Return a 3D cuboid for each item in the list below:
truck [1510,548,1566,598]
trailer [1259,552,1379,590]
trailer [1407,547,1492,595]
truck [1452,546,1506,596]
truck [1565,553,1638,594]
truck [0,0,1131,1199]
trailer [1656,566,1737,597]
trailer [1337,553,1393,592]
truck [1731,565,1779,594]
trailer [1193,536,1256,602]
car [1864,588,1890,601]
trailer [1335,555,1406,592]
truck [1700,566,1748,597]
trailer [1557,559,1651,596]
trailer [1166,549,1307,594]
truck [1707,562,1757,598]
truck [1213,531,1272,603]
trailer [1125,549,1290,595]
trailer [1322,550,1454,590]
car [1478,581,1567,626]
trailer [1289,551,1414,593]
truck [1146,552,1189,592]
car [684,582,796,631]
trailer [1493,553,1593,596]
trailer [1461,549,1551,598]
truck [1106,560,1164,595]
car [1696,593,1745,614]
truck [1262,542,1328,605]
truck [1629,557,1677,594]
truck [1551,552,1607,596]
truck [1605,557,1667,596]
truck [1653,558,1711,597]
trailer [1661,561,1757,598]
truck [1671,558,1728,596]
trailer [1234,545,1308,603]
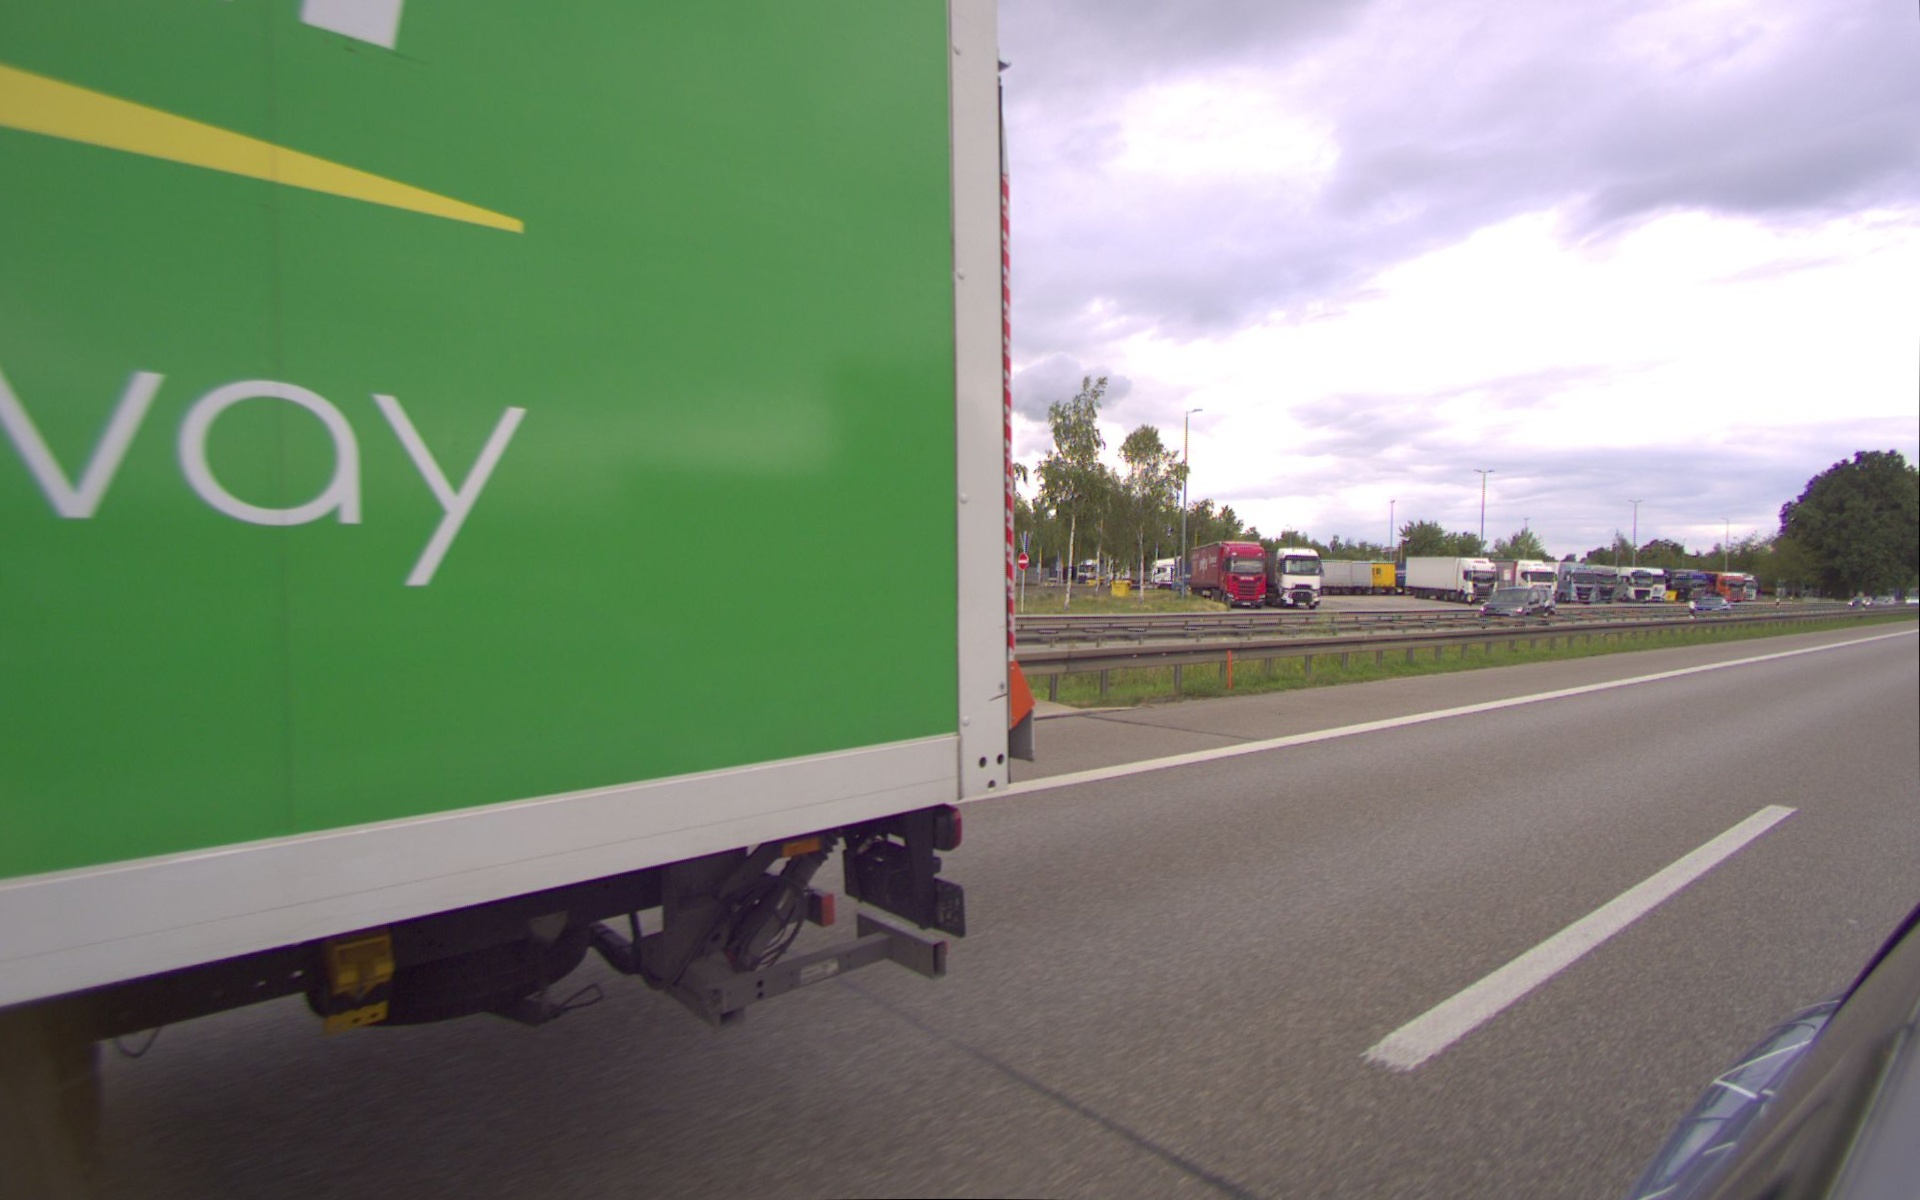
[{"bbox_3d":[52.880,-2.403,92.698,2.467,4.382,4.899,-1,0,4],"label":"truck"},{"bbox_3d":[46.705,-3.757,131.991,14.394,4.701,3.155,-1,0,5],"label":"trailer"},{"bbox_3d":[45.771,-2.539,95.232,2.568,4.126,13.522,-1,0,6],"label":"trailer"},{"bbox_3d":[45.024,-2.470,87.877,2.568,4.187,4.526,-1,0,6],"label":"truck"},{"bbox_3d":[69.098,-2.771,109.228,3.486,4.136,7.642,-1,0,6],"label":"truck"},{"bbox_3d":[-3.845,-0.340,0.595,8.903,3.549,2.775,0,0,-41],"label":"truck"},{"bbox_3d":[106.552,-2.572,146.755,2.617,4.165,14.047,-1,0,6],"label":"trailer"},{"bbox_3d":[46.628,-3.167,116.572,5.531,4.349,1.999,0,1,2],"label":"trailer"},{"bbox_3d":[116.521,-2.968,148.495,2.781,4.112,6.430,-1,0,10],"label":"truck"},{"bbox_3d":[18.410,-2.097,71.088,2.553,4.278,11.093,-1,1,6],"label":"trailer"},{"bbox_3d":[92.842,-0.590,102.441,3.930,1.230,1.464,-1,2,-41],"label":"car"},{"bbox_3d":[48.997,-3.192,120.894,7.595,4.349,1.999,0,1,2],"label":"trailer"},{"bbox_3d":[105.923,-2.532,140.423,2.623,4.201,5.920,-1,0,6],"label":"truck"},{"bbox_3d":[76.652,-2.568,121.073,2.805,4.157,15.861,-1,0,7],"label":"trailer"},{"bbox_3d":[29.413,-3.002,108.104,14.140,4.444,2.949,-1,0,5],"label":"trailer"},{"bbox_3d":[102.458,-2.633,134.366,2.827,4.683,5.165,-1,0,5],"label":"truck"},{"bbox_3d":[17.727,-1.979,63.893,2.547,4.307,5.685,-1,0,5],"label":"truck"},{"bbox_3d":[25.469,-2.862,104.703,16.200,4.444,2.634,-1,0,2],"label":"trailer"},{"bbox_3d":[52.763,-3.686,124.990,14.782,4.701,2.871,-1,0,5],"label":"trailer"},{"bbox_3d":[23.522,0.112,42.249,4.514,1.778,1.831,0,2,-41],"label":"car"},{"bbox_3d":[43.620,-3.087,113.040,12.642,4.336,2.629,1,0,3],"label":"trailer"},{"bbox_3d":[22.247,-2.976,108.675,4.049,4.210,2.942,-1,0,4],"label":"truck"},{"bbox_3d":[-7.201,0.197,33.650,1.968,1.486,4.768,-1,0,10],"label":"car"},{"bbox_3d":[60.692,-2.503,105.966,2.610,4.136,14.685,-1,0,3],"label":"trailer"},{"bbox_3d":[53.496,-2.449,99.780,2.434,4.451,14.122,-1,0,5],"label":"trailer"},{"bbox_3d":[18.080,-2.303,105.001,5.527,3.483,2.656,-1,0,3],"label":"truck"},{"bbox_3d":[48.932,0.203,65.109,3.484,1.274,1.795,-1,0,-41],"label":"car"},{"bbox_3d":[21.713,-1.740,65.953,2.709,3.897,6.384,1,1,6],"label":"truck"},{"bbox_3d":[79.985,-2.815,116.862,2.651,4.107,4.787,-1,0,8],"label":"truck"},{"bbox_3d":[60.321,-2.490,98.763,2.593,4.184,4.790,-1,0,4],"label":"truck"},{"bbox_3d":[75.774,-2.539,113.670,2.836,4.187,6.959,-1,0,7],"label":"truck"},{"bbox_3d":[87.732,-2.719,123.103,3.113,4.614,6.076,-1,0,6],"label":"truck"},{"bbox_3d":[102.974,-2.738,139.629,2.814,4.737,15.786,-1,0,6],"label":"trailer"},{"bbox_3d":[92.409,-2.798,126.594,3.007,4.614,6.076,-1,0,6],"label":"truck"},{"bbox_3d":[22.609,-1.912,74.325,2.700,3.889,13.188,1,1,6],"label":"trailer"}]
